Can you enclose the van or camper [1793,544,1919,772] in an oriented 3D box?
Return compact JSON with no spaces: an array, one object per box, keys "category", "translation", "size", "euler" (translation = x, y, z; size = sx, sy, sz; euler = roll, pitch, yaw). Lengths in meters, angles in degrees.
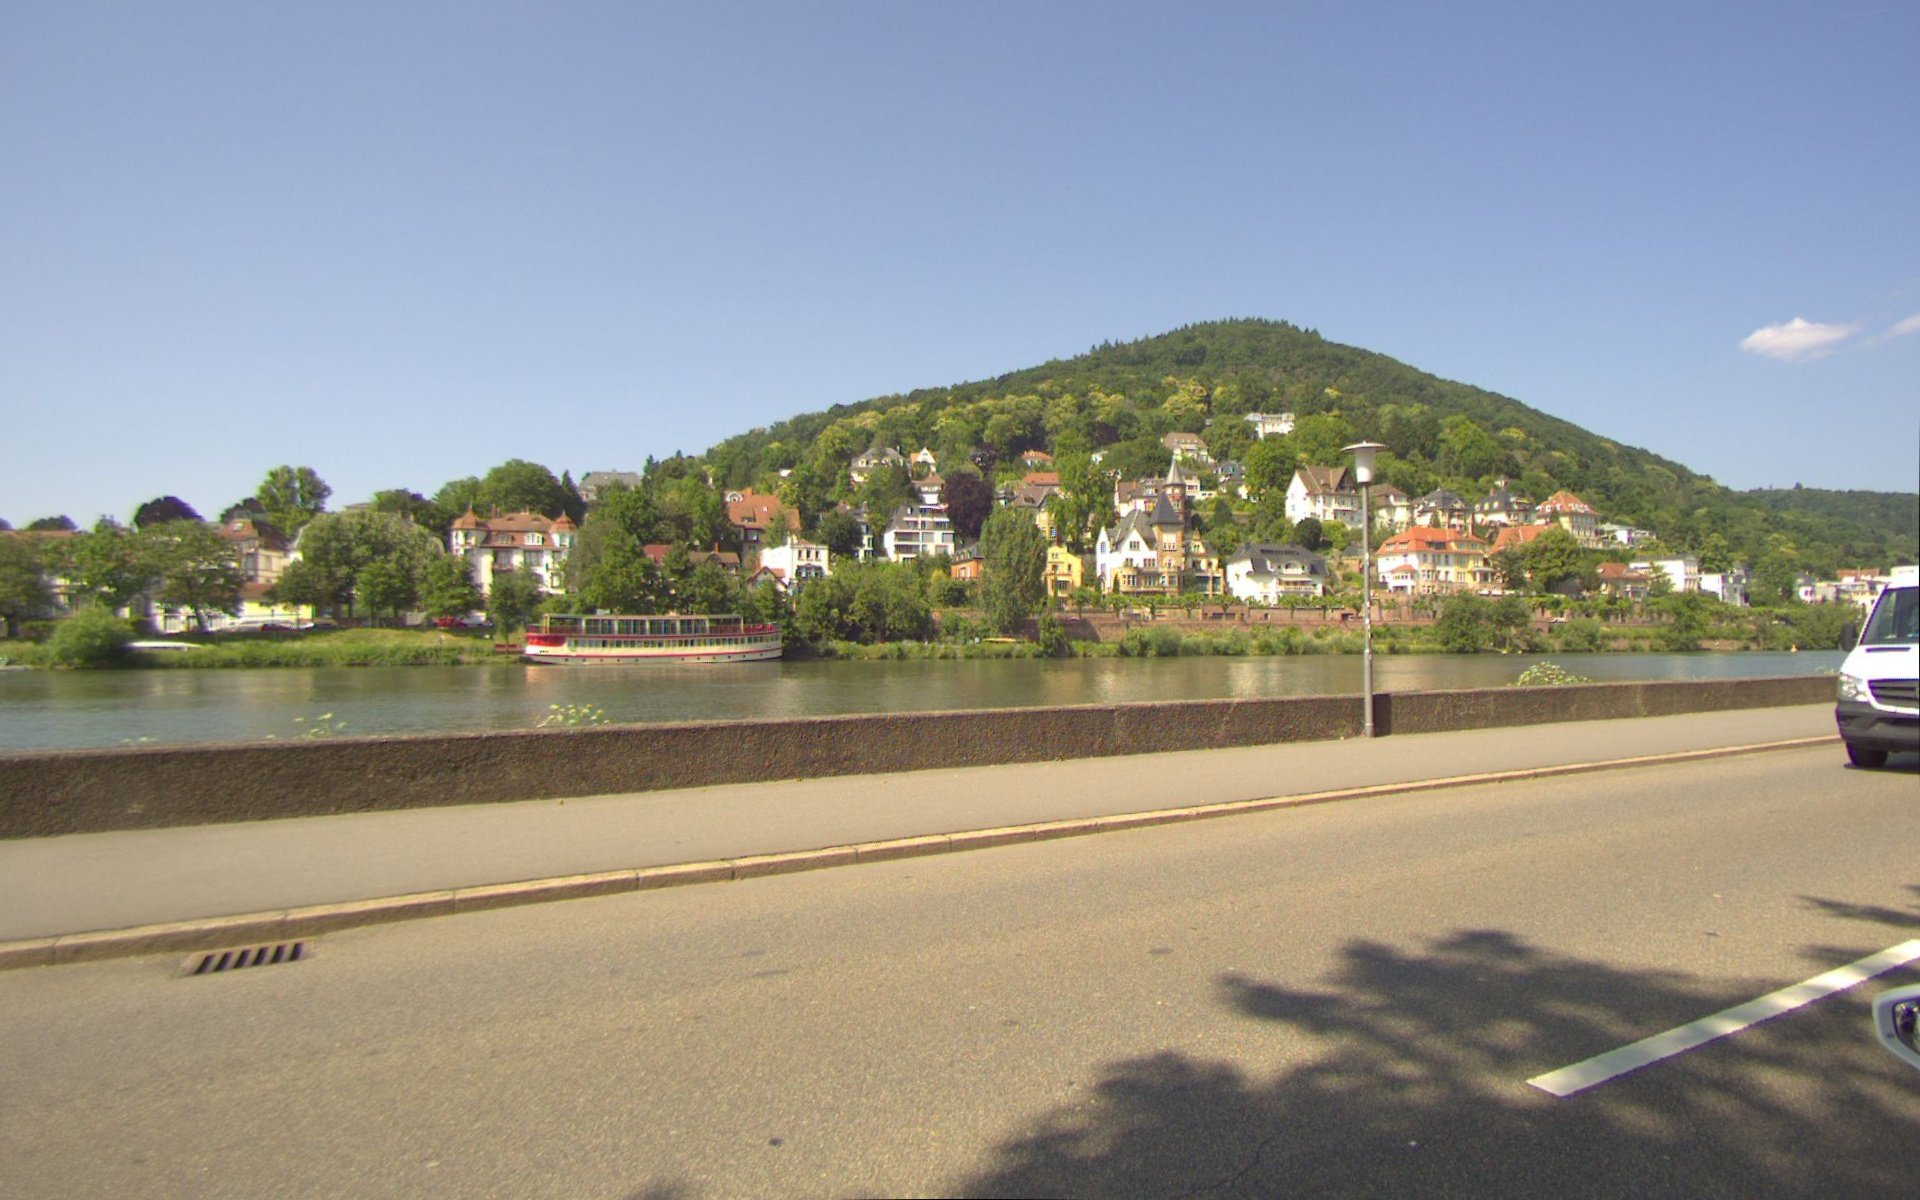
[{"category":"van or camper","translation":[12.529,0.664,12.078],"size":[5.321,2.429,2.068],"euler":[1,-4,-30]}]
